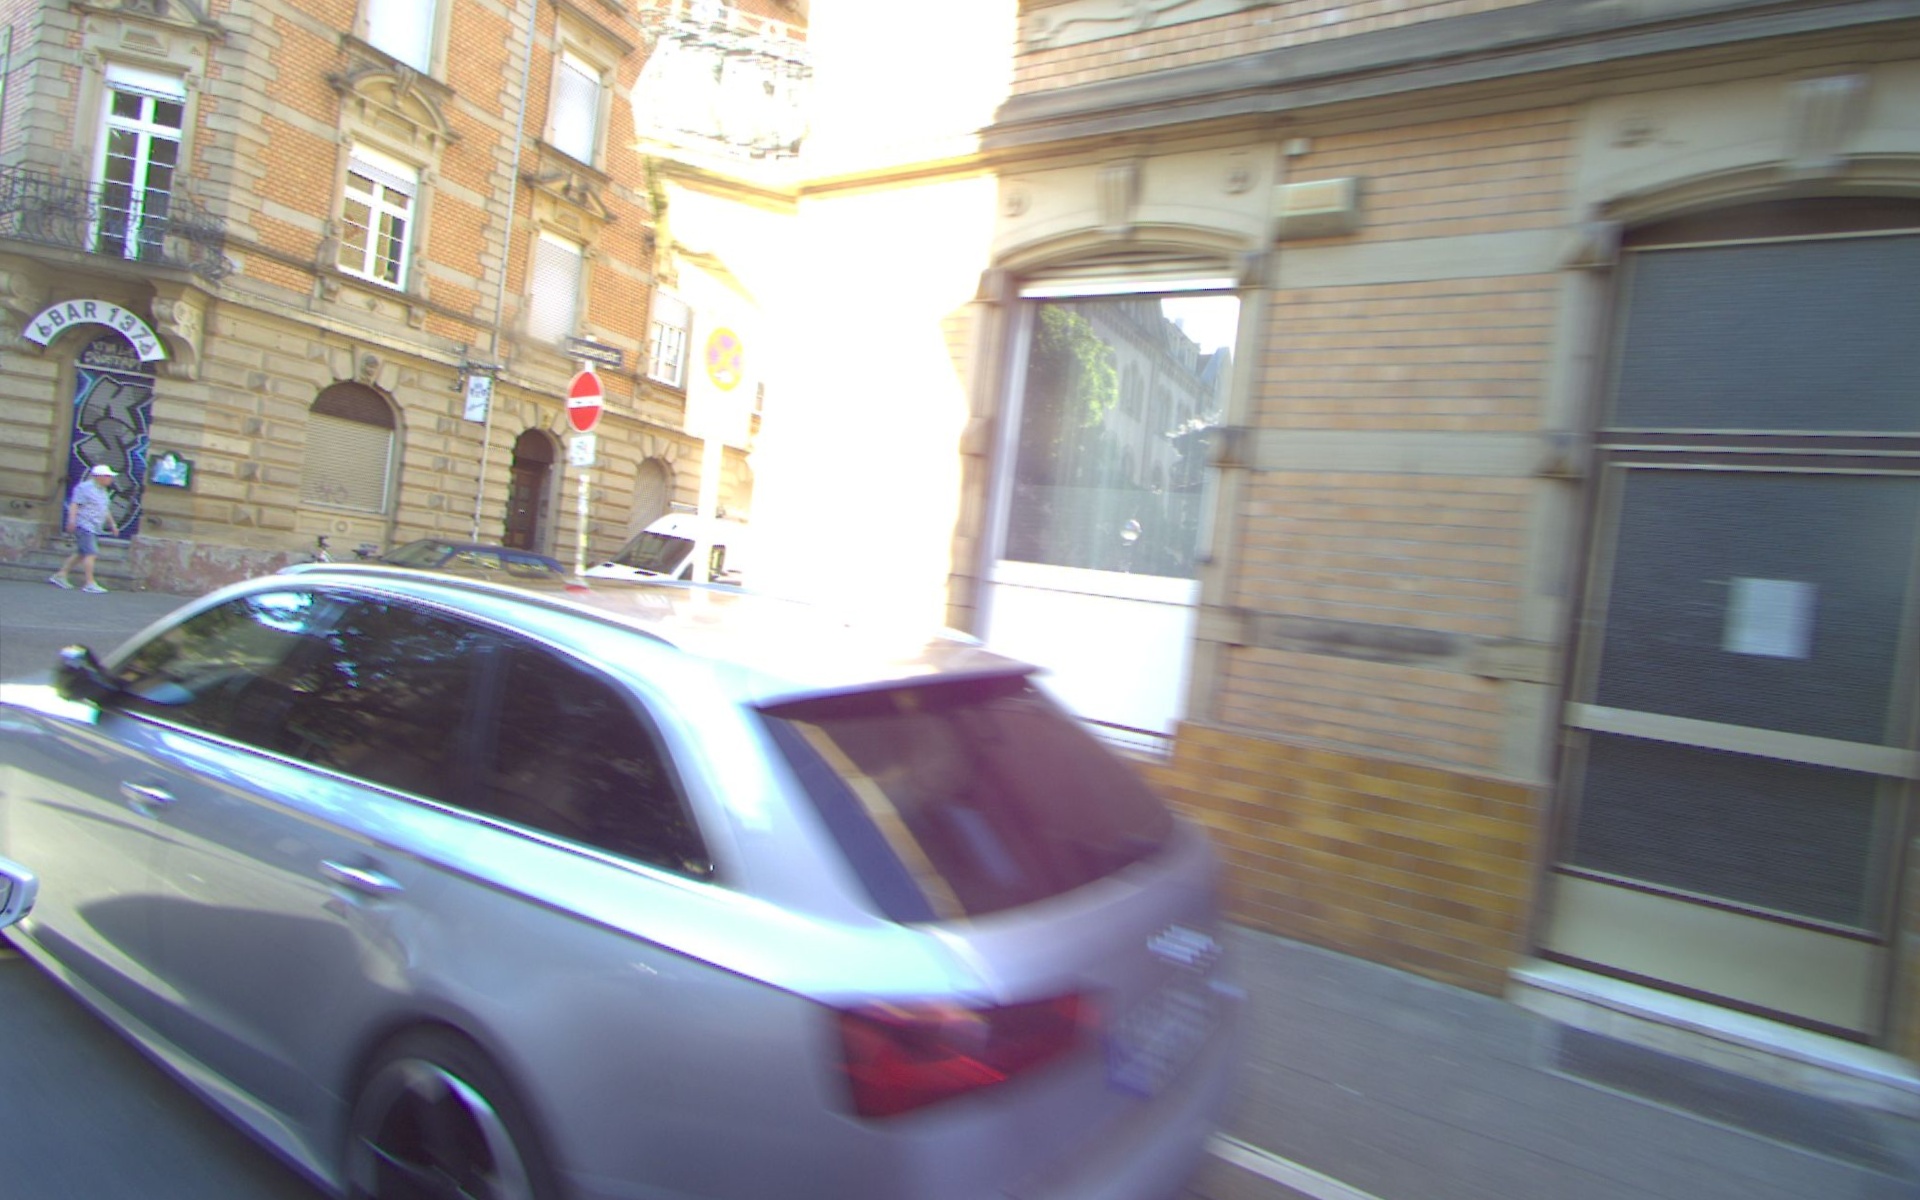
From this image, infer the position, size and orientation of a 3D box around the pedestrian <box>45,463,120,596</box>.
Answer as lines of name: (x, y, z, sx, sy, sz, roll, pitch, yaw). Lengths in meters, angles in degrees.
pedestrian: (-12.254, -0.983, 14.066, 0.658, 1.756, 0.569, 5, 3, -39)

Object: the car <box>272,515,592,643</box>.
car: (-8.010, -0.248, 15.628, 1.705, 1.470, 3.984, 8, 1, 33)

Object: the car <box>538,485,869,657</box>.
car: (-4.893, -0.388, 20.664, 2.032, 2.684, 6.815, 10, 2, 31)

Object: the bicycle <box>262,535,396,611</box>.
bicycle: (-10.424, -0.421, 16.683, 0.525, 1.068, 1.777, 8, 1, 31)

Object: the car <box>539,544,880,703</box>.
car: (-2.895, 0.321, 12.645, 1.738, 1.489, 4.249, 7, 1, 26)

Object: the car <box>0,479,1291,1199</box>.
car: (-1.517, 0.578, 3.136, 4.437, 1.476, 1.709, 7, -1, 32)

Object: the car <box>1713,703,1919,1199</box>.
car: (2.785, 1.123, 0.372, 3.823, 1.498, 1.668, 8, 1, 32)
